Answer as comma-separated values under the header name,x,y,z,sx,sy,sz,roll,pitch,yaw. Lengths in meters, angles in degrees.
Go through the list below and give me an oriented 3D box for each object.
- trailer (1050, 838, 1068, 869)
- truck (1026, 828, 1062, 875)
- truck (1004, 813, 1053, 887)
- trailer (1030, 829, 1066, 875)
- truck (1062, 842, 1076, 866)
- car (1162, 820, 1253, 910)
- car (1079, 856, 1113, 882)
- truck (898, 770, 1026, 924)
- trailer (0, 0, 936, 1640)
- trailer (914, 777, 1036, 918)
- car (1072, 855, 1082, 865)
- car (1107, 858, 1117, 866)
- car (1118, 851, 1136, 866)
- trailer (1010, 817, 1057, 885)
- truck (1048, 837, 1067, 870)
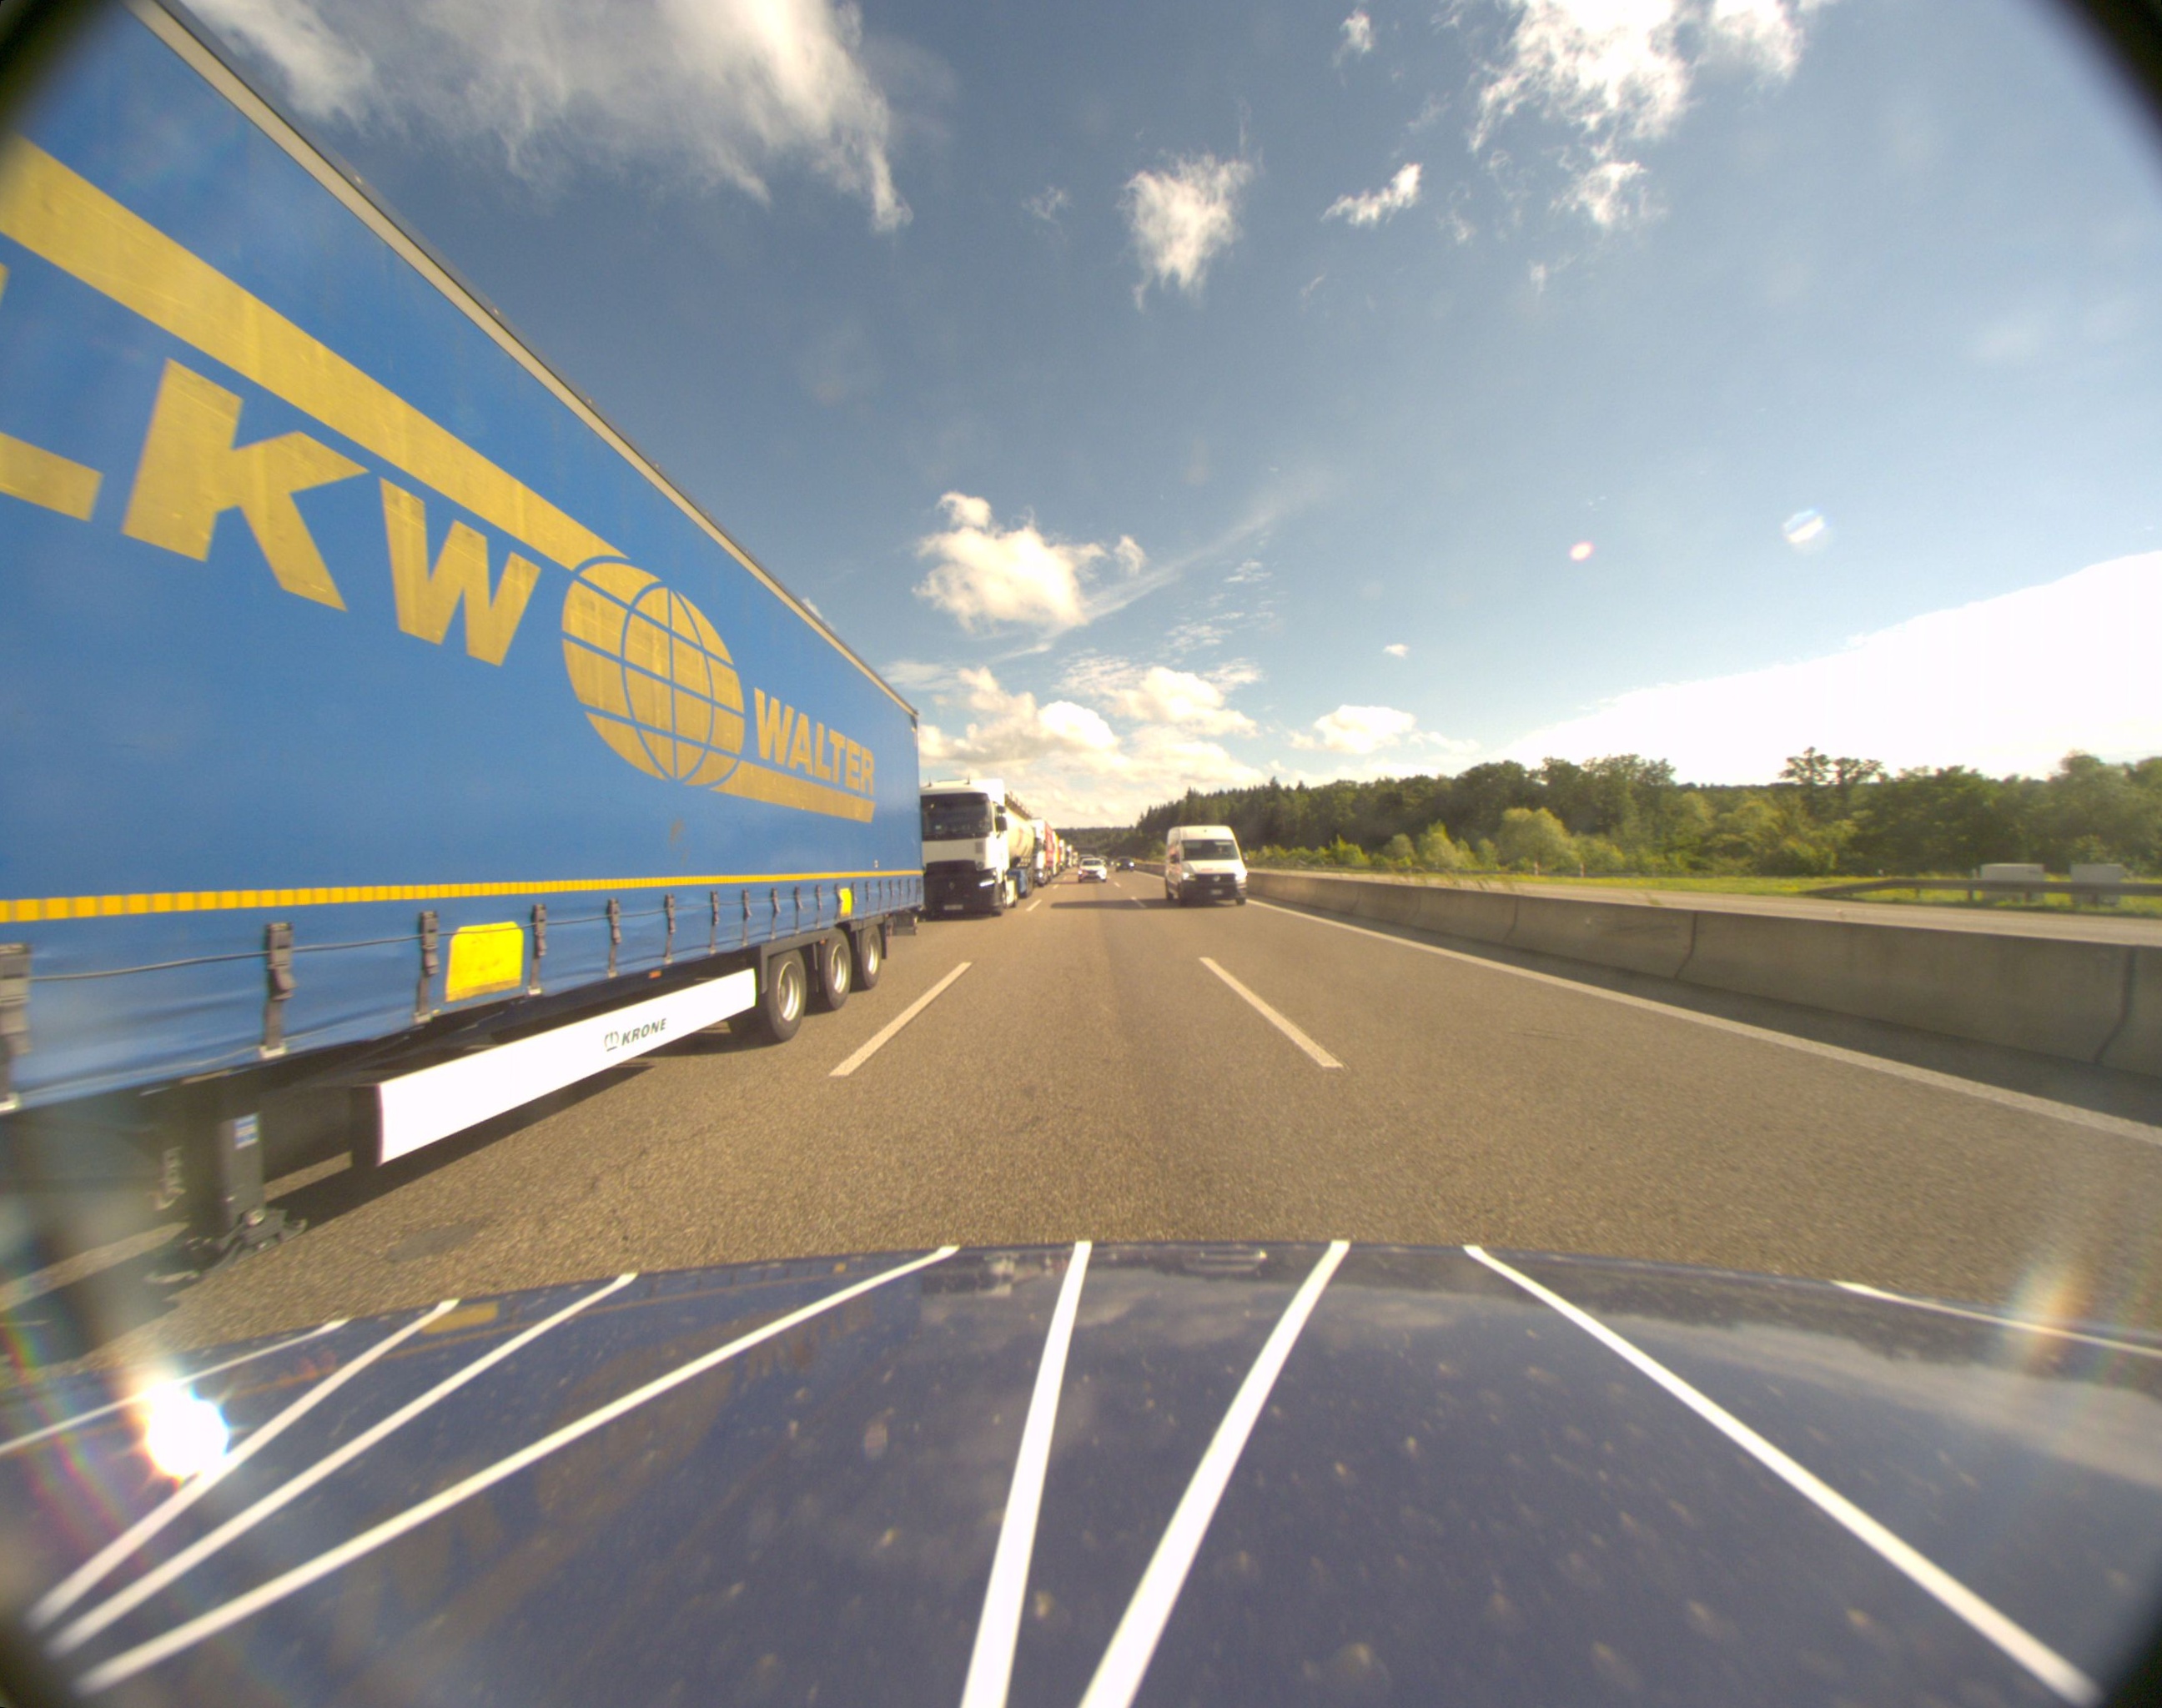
name,x,y,z,sx,sy,sz,roll,pitch,yaw
trailer,-2.882,-0.105,101.673,1.998,3.999,7.344,-2,1,1
truck,-3.209,-0.201,67.596,2.634,3.959,5.956,-2,0,1
truck,-2.973,-0.160,44.699,2.371,3.996,6.106,-1,-1,0
trailer,-3.119,-0.221,74.847,2.624,3.977,13.365,-2,0,1
truck,-2.113,-0.033,135.626,1.998,3.999,7.344,-2,1,0
car,4.015,0.300,25.254,2.020,2.584,6.181,-1,0,0
car,1.007,0.931,49.233,2.026,1.510,5.299,-3,0,2
truck,-3.360,-0.194,23.280,2.656,3.902,6.941,-2,0,0
trailer,-3.785,-0.271,5.359,2.649,4.074,13.978,-2,0,0
trailer,-3.365,-0.192,27.315,2.653,3.911,11.174,-2,0,0
car,-0.896,1.346,167.950,2.129,2.030,4.697,1,0,2
car,5.683,1.513,140.229,1.779,1.451,4.158,1,1,1
car,5.085,0.496,84.232,1.779,1.533,4.158,1,1,1
trailer,-3.010,-0.087,51.746,2.334,3.973,14.300,-1,-1,0
truck,-2.940,-0.106,96.470,1.998,4.025,5.869,-2,1,1
